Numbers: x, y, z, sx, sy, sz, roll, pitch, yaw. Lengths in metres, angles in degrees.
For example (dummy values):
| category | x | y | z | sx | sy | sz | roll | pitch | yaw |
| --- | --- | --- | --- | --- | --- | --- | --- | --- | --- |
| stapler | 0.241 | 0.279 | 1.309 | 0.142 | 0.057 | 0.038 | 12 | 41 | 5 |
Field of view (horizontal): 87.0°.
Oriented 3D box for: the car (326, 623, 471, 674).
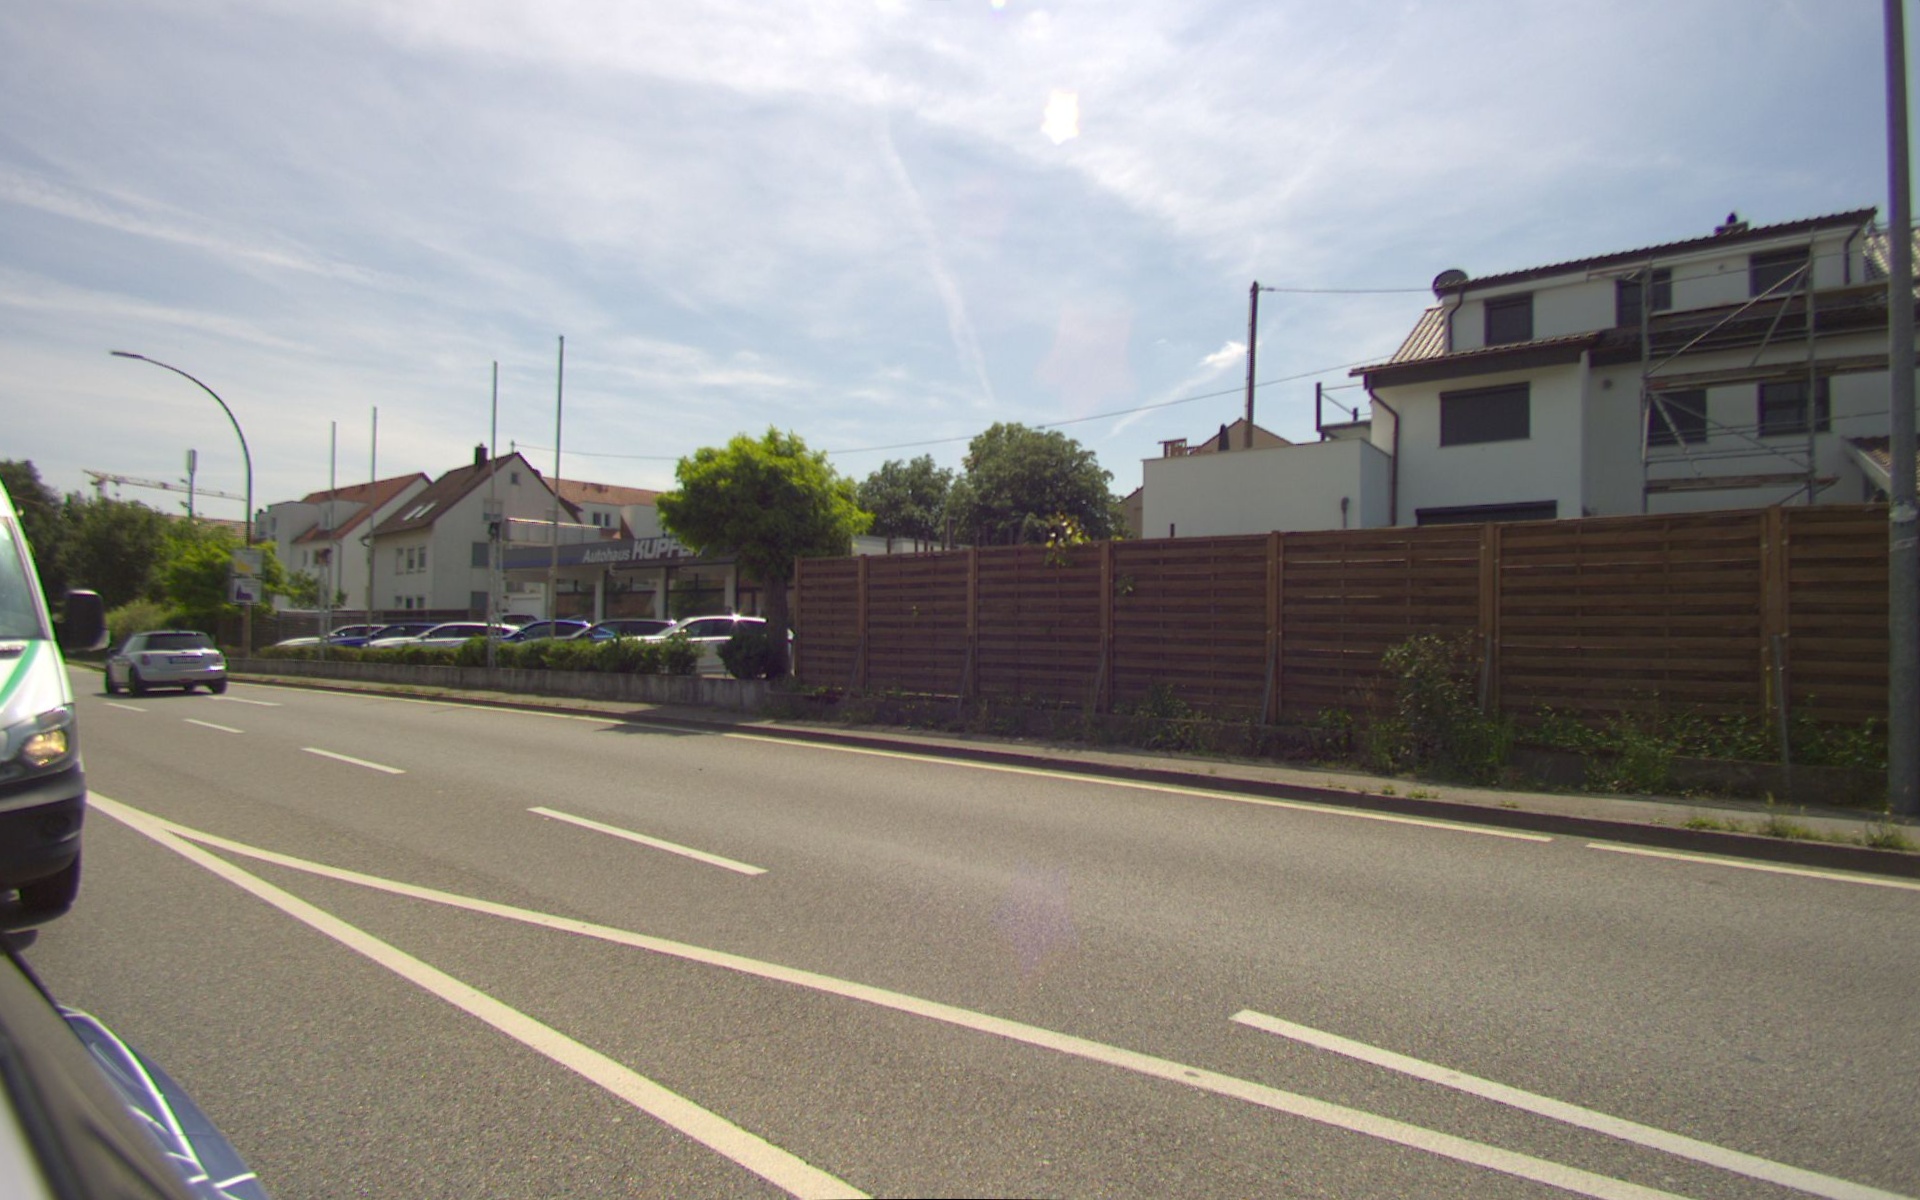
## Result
| category | x | y | z | sx | sy | sz | roll | pitch | yaw |
| --- | --- | --- | --- | --- | --- | --- | --- | --- | --- |
| car | -18.150 | 1.527 | 32.918 | 3.930 | 1.475 | 2.006 | -1 | -1 | -24 |

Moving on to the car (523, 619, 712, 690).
| category | x | y | z | sx | sy | sz | roll | pitch | yaw |
| --- | --- | --- | --- | --- | --- | --- | --- | --- | --- |
| car | -8.450 | 1.287 | 25.019 | 4.187 | 1.557 | 1.856 | -1 | -1 | -27 |

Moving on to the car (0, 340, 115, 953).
| category | x | y | z | sx | sy | sz | roll | pitch | yaw |
| --- | --- | --- | --- | --- | --- | --- | --- | --- | --- |
| car | -6.640 | 0.268 | 5.663 | 5.628 | 2.619 | 1.953 | -2 | -1 | 40 |

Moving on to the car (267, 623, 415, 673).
| category | x | y | z | sx | sy | sz | roll | pitch | yaw |
| --- | --- | --- | --- | --- | --- | --- | --- | --- | --- |
| car | -21.485 | 1.636 | 35.340 | 4.192 | 1.541 | 2.006 | -1 | -1 | -24 |

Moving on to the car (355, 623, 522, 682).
| category | x | y | z | sx | sy | sz | roll | pitch | yaw |
| --- | --- | --- | --- | --- | --- | --- | --- | --- | --- |
| car | -15.270 | 1.500 | 29.903 | 4.238 | 1.530 | 2.006 | -1 | -1 | -23 |

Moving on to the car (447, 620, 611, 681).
| category | x | y | z | sx | sy | sz | roll | pitch | yaw |
| --- | --- | --- | --- | --- | --- | --- | --- | --- | --- |
| car | -11.634 | 1.320 | 27.381 | 3.931 | 1.453 | 1.860 | -1 | -1 | -25 |

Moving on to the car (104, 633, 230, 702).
| category | x | y | z | sx | sy | sz | roll | pitch | yaw |
| --- | --- | --- | --- | --- | --- | --- | --- | --- | --- |
| car | -17.903 | 1.468 | 22.810 | 3.558 | 1.392 | 1.605 | -2 | -1 | 41 |

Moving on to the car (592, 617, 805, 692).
| category | x | y | z | sx | sy | sz | roll | pitch | yaw |
| --- | --- | --- | --- | --- | --- | --- | --- | --- | --- |
| car | -5.789 | 1.153 | 22.434 | 4.264 | 1.471 | 1.861 | 0 | -1 | -26 |
